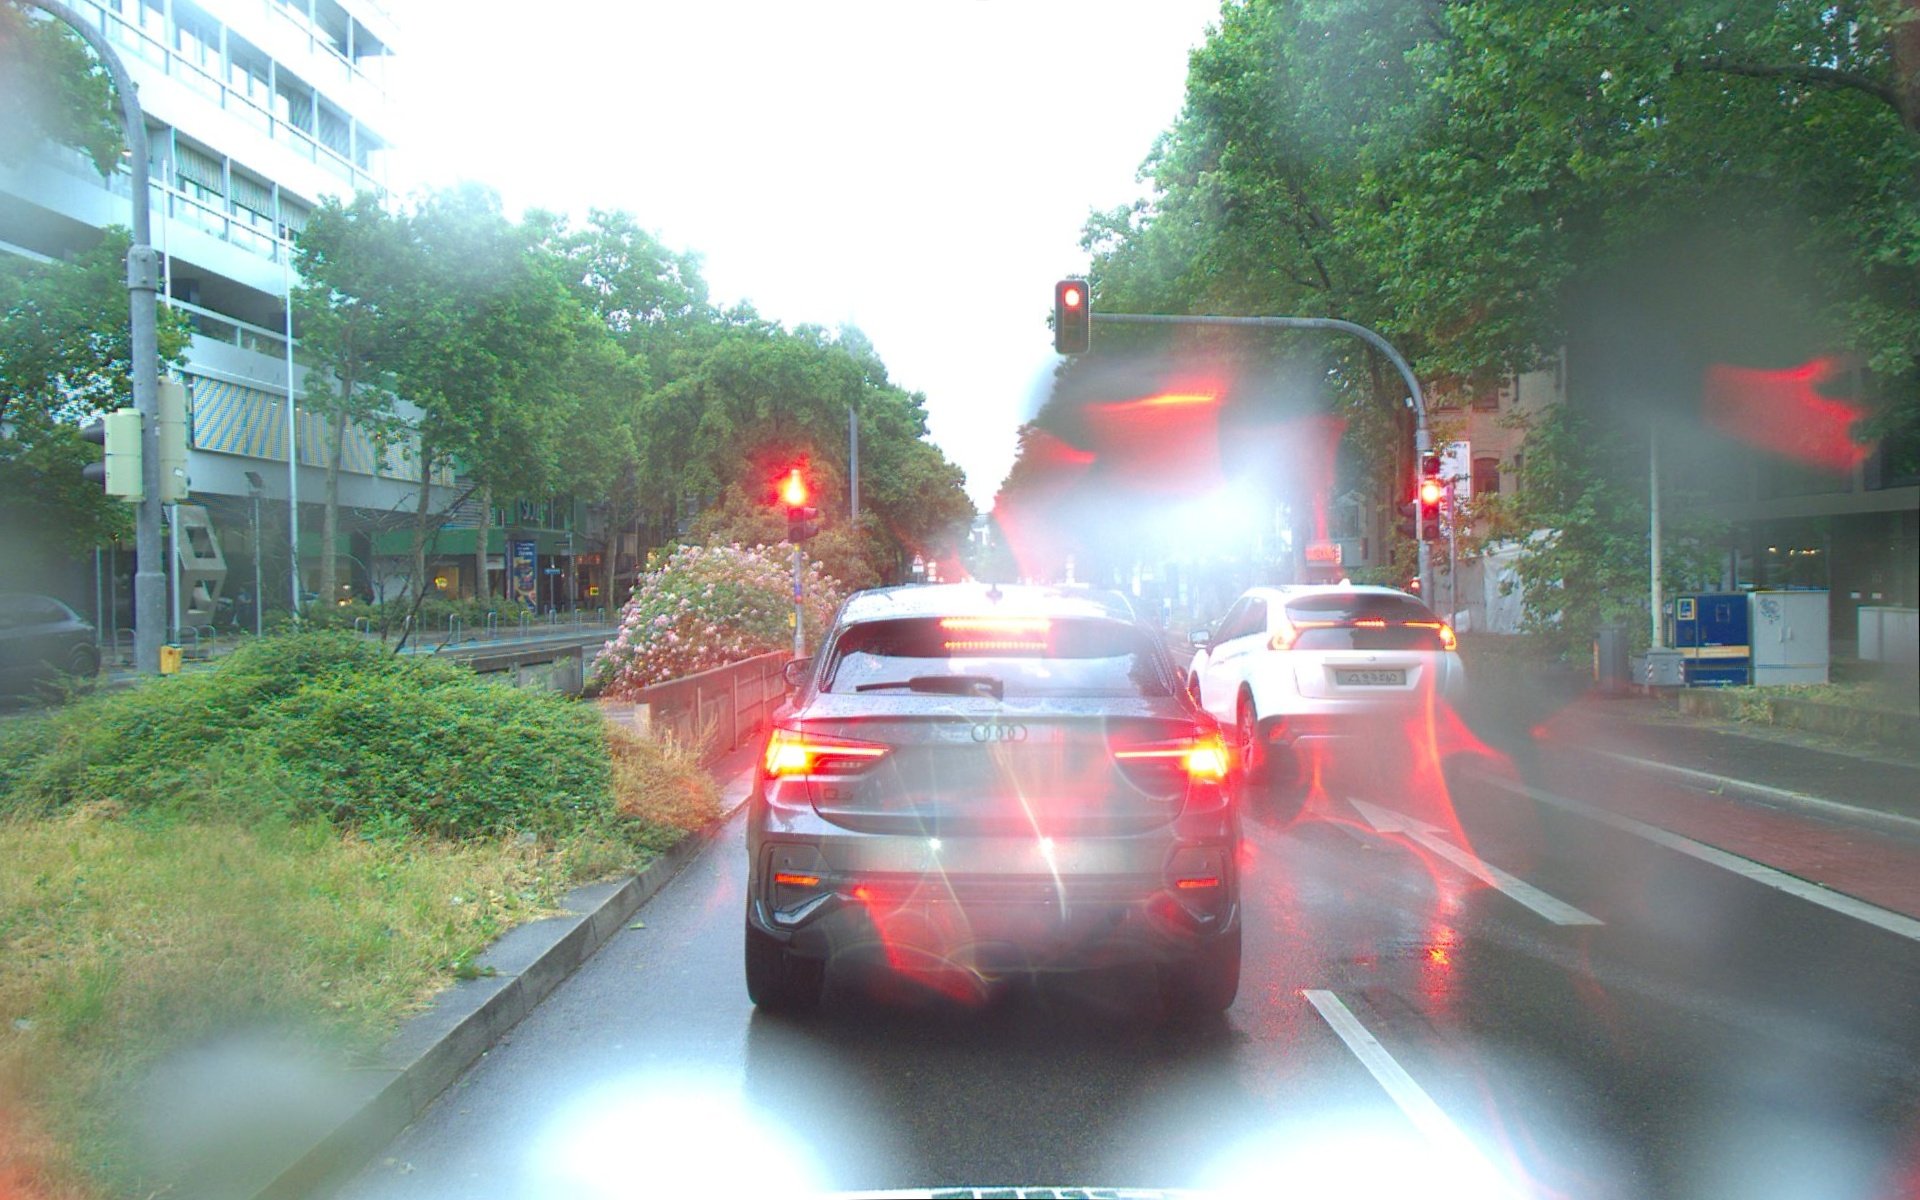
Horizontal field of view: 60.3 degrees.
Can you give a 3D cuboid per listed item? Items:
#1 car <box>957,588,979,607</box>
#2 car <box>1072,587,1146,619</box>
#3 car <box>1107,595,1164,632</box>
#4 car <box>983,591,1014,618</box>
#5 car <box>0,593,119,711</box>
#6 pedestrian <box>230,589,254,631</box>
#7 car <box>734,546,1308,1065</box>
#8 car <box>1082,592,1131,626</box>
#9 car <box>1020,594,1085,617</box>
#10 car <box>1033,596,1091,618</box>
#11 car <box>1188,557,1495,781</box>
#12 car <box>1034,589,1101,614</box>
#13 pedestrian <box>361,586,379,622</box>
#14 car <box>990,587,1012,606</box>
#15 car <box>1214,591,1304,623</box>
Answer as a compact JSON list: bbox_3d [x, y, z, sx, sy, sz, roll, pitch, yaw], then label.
[{"bbox_3d":[0.712,-0.232,146.869,1.857,1.627,3.938,1,0,-1],"label":"car"},{"bbox_3d":[9.835,0.184,109.167,4.519,2.049,1.959,1,-1,39],"label":"car"},{"bbox_3d":[7.237,0.548,68.610,1.835,1.446,4.611,1,0,0],"label":"car"},{"bbox_3d":[2.596,0.288,112.394,1.953,1.757,3.999,1,0,-1],"label":"car"},{"bbox_3d":[-14.012,0.693,23.073,1.869,1.612,4.748,1,0,4],"label":"car"},{"bbox_3d":[-24.361,0.349,56.095,0.626,1.404,0.473,1,-1,-12],"label":"pedestrian"},{"bbox_3d":[0.166,0.646,7.219,1.812,1.630,3.999,0,0,-1],"label":"car"},{"bbox_3d":[7.003,0.433,79.173,1.693,1.599,4.070,1,0,-4],"label":"car"},{"bbox_3d":[7.143,0.428,127.945,4.549,1.736,1.997,1,-1,28],"label":"car"},{"bbox_3d":[8.686,0.590,140.706,4.549,1.736,1.997,1,-1,28],"label":"car"},{"bbox_3d":[3.271,0.556,14.979,1.839,1.727,4.000,1,0,0],"label":"car"},{"bbox_3d":[7.990,0.115,123.371,4.549,1.736,1.997,1,-1,28],"label":"car"},{"bbox_3d":[-24.477,0.166,68.618,0.599,1.508,0.573,1,-1,-12],"label":"pedestrian"},{"bbox_3d":[3.720,-0.304,151.210,1.952,1.680,4.000,1,0,0],"label":"car"},{"bbox_3d":[10.598,0.246,58.643,2.831,1.093,1.452,1,-1,31],"label":"car"}]
